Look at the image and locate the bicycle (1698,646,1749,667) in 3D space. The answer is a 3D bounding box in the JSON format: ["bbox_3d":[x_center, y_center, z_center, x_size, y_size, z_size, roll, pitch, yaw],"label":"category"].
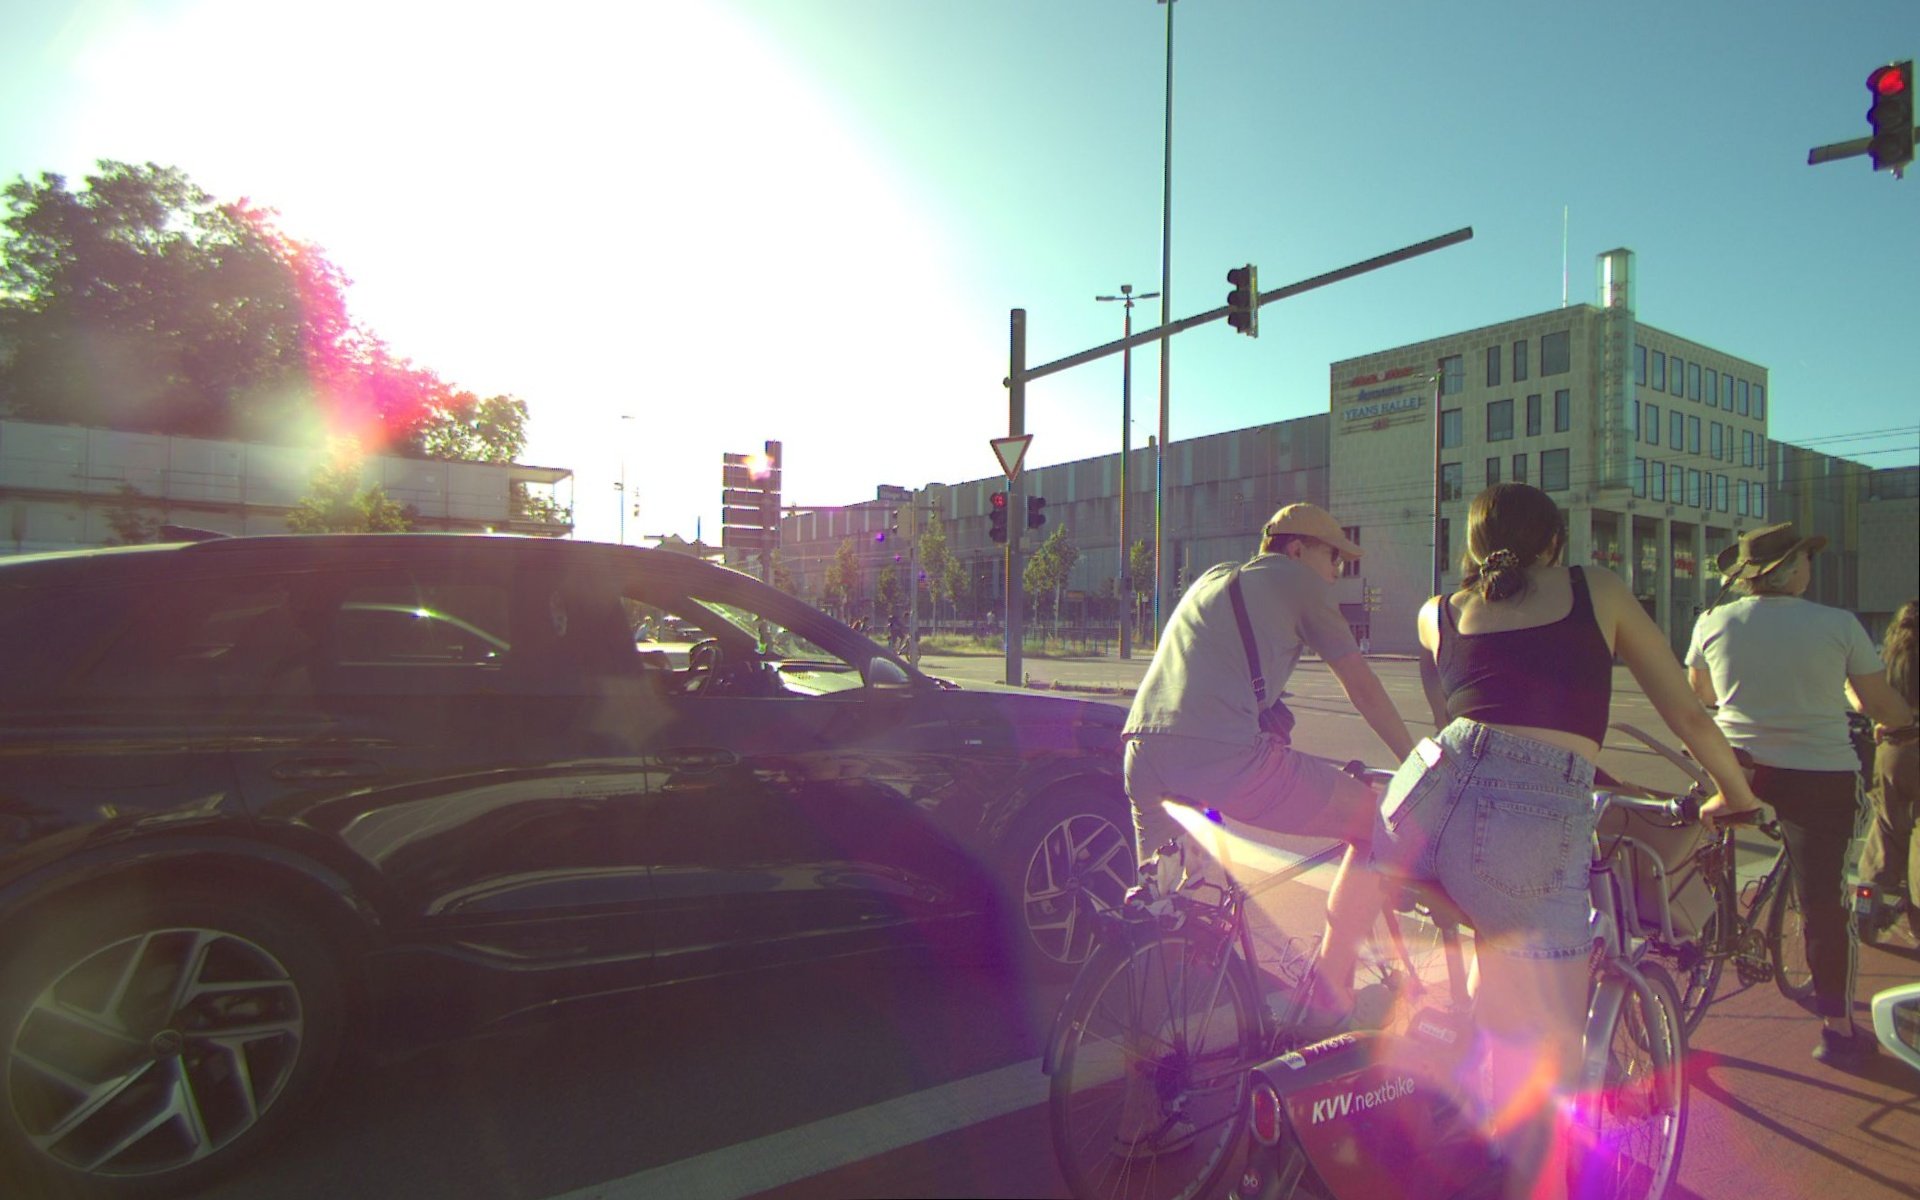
[{"bbox_3d":[45.704,3.371,60.171,0.650,1.127,2.391,1,-2,-29],"label":"bicycle"}]

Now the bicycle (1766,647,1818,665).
[{"bbox_3d":[53.926,3.622,65.119,0.824,1.125,2.458,1,-2,-28],"label":"bicycle"}]

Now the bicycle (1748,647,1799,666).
[{"bbox_3d":[51.529,3.551,63.658,0.586,1.125,2.458,1,-2,-28],"label":"bicycle"}]

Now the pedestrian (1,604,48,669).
[{"bbox_3d":[-23.578,0.924,25.332,0.646,1.610,0.834,1,-1,-30],"label":"pedestrian"}]

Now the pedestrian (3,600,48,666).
[{"bbox_3d":[-24.341,0.859,26.181,0.646,1.702,0.834,1,-1,-30],"label":"pedestrian"}]

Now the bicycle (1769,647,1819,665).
[{"bbox_3d":[55.463,3.685,66.812,0.824,1.125,2.458,1,-2,-28],"label":"bicycle"}]

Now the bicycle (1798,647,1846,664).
[{"bbox_3d":[59.040,3.798,68.820,0.652,1.125,2.458,1,-2,-28],"label":"bicycle"}]

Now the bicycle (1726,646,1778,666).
[{"bbox_3d":[48.751,3.441,61.847,0.675,1.125,2.458,1,-2,-28],"label":"bicycle"}]

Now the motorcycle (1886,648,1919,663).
[{"bbox_3d":[70.692,4.170,74.653,0.908,1.009,2.649,2,0,-36],"label":"motorcycle"}]

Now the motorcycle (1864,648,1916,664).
[{"bbox_3d":[67.672,4.071,73.076,0.908,1.009,2.649,2,0,-36],"label":"motorcycle"}]

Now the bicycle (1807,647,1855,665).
[{"bbox_3d":[60.269,3.851,69.512,0.623,1.125,2.458,1,-2,-28],"label":"bicycle"}]

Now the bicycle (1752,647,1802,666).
[{"bbox_3d":[52.013,3.567,63.965,0.531,1.125,2.458,1,-2,-28],"label":"bicycle"}]

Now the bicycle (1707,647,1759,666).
[{"bbox_3d":[46.836,3.411,60.871,0.676,1.125,2.457,1,-2,-29],"label":"bicycle"}]

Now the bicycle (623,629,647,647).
[{"bbox_3d":[-18.190,2.126,56.150,0.796,0.939,2.059,0,-1,-32],"label":"bicycle"}]

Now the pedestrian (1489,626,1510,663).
[{"bbox_3d":[32.240,2.654,60.011,0.886,2.152,0.941,0,-1,44],"label":"pedestrian"}]

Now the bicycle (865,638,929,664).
[{"bbox_3d":[-2.348,1.908,37.689,2.369,0.953,0.749,1,-1,-33],"label":"bicycle"}]

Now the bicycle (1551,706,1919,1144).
[{"bbox_3d":[2.941,0.988,3.583,1.780,1.108,0.703,1,-1,-32],"label":"bicycle"}]

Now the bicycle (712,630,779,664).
[{"bbox_3d":[-6.601,1.433,30.874,1.948,1.010,0.646,0,-1,-20],"label":"bicycle"}]

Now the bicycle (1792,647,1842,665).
[{"bbox_3d":[58.348,3.785,68.415,0.824,1.125,2.458,1,-2,-28],"label":"bicycle"}]

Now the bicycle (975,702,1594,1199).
[{"bbox_3d":[0.966,0.898,2.788,1.795,1.131,0.620,1,-1,-31],"label":"bicycle"}]

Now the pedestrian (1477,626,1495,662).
[{"bbox_3d":[32.272,2.681,61.588,0.883,2.152,0.944,0,-1,34],"label":"pedestrian"}]

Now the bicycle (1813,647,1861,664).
[{"bbox_3d":[61.261,3.875,70.222,0.652,1.125,2.458,1,-2,-28],"label":"bicycle"}]

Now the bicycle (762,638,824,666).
[{"bbox_3d":[-6.001,1.872,36.137,2.052,0.939,0.799,0,-1,-30],"label":"bicycle"}]

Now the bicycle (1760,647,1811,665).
[{"bbox_3d":[53.195,3.600,64.731,0.675,1.125,2.458,1,-2,-28],"label":"bicycle"}]

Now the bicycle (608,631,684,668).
[{"bbox_3d":[-8.909,1.388,28.554,2.043,0.991,0.803,0,0,-16],"label":"bicycle"}]

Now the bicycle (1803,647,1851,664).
[{"bbox_3d":[59.654,3.824,69.158,0.652,1.125,2.458,1,-2,-28],"label":"bicycle"}]

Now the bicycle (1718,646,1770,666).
[{"bbox_3d":[48.017,3.433,61.522,0.675,1.125,2.459,1,-2,-27],"label":"bicycle"}]

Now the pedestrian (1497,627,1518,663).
[{"bbox_3d":[33.139,2.702,60.782,0.886,2.152,0.941,0,-1,43],"label":"pedestrian"}]

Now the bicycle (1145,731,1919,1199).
[{"bbox_3d":[1.277,0.902,2.111,1.780,1.108,0.647,1,-1,-32],"label":"bicycle"}]

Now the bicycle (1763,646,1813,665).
[{"bbox_3d":[54.446,3.651,66.099,0.675,1.125,2.458,1,-2,-28],"label":"bicycle"}]

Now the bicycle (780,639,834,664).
[{"bbox_3d":[-6.012,2.007,39.504,2.042,0.939,0.803,0,0,-14],"label":"bicycle"}]

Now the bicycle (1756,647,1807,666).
[{"bbox_3d":[52.566,3.586,64.284,0.675,1.125,2.458,1,-2,-28],"label":"bicycle"}]
